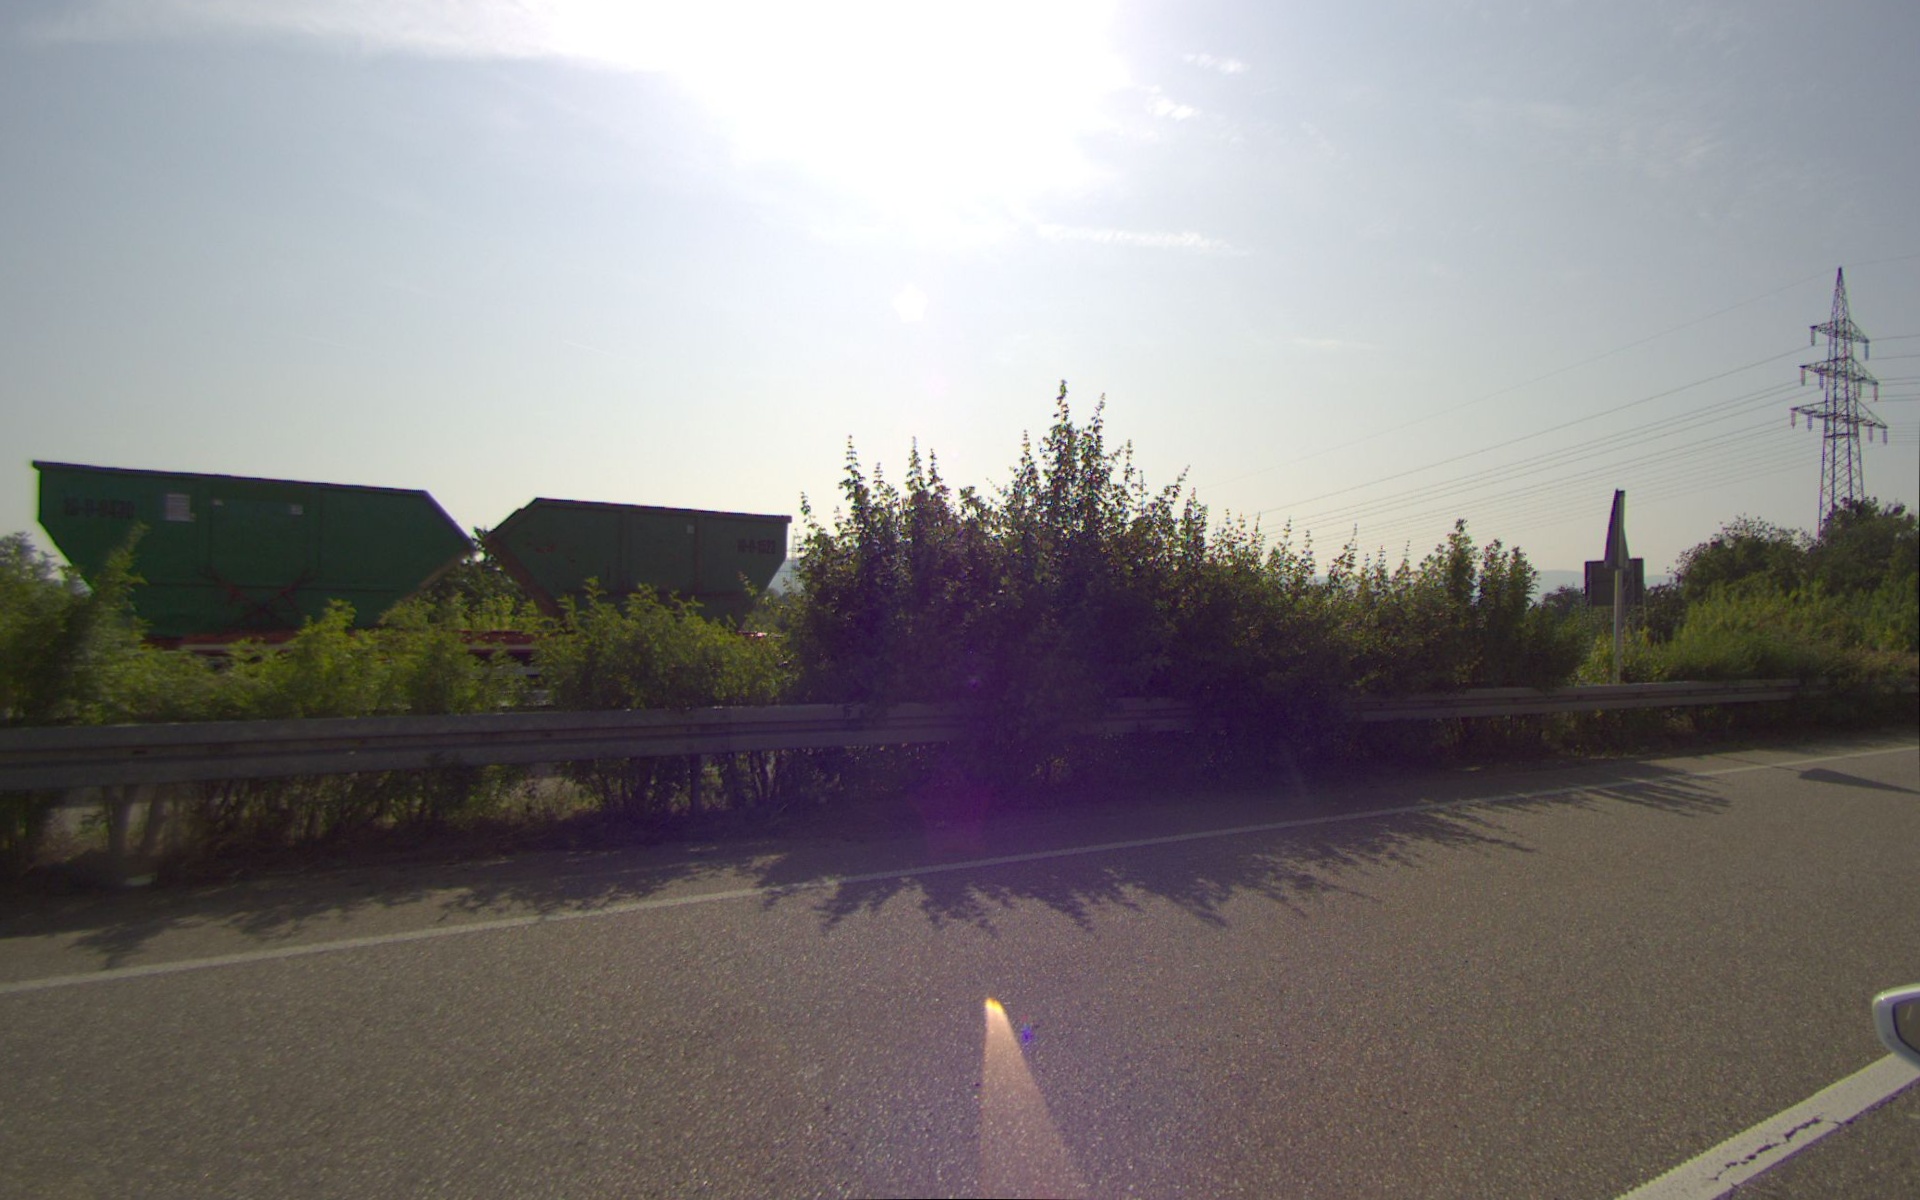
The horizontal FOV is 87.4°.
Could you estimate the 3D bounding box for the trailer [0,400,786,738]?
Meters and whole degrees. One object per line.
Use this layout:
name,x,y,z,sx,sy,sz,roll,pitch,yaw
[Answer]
trailer,-8.716,-0.272,11.954,13.275,3.420,1.983,2,0,-32
